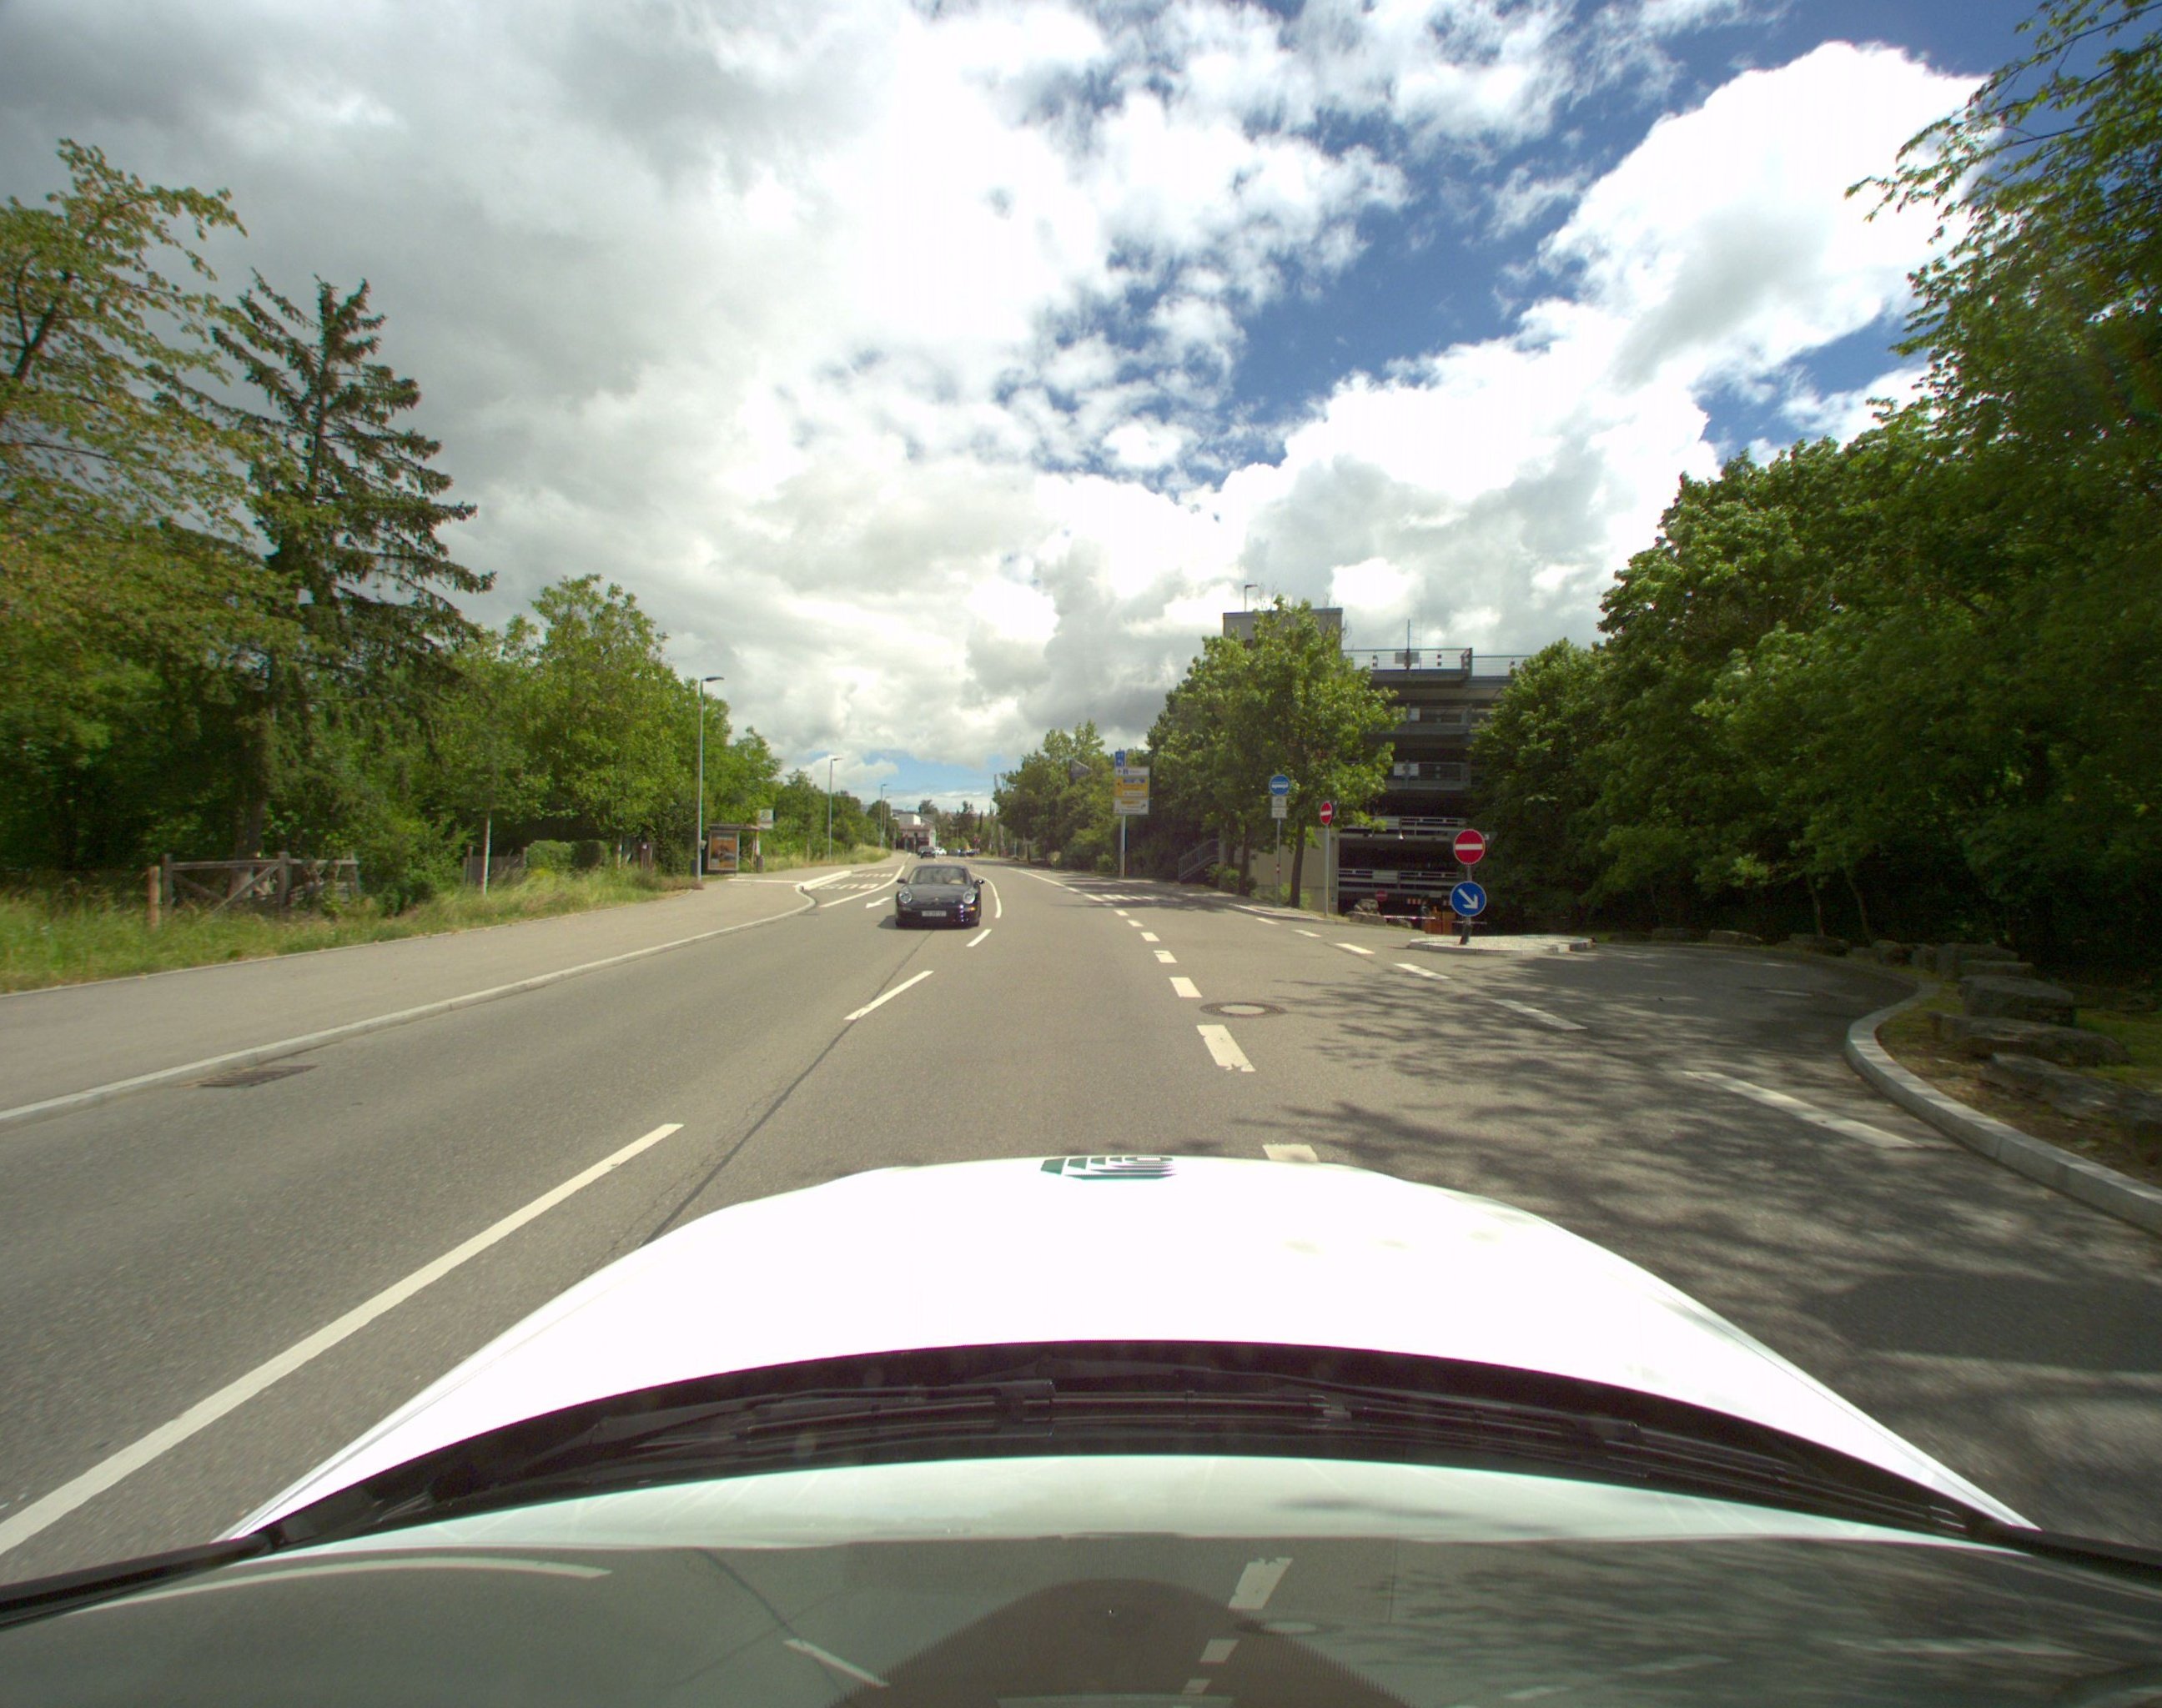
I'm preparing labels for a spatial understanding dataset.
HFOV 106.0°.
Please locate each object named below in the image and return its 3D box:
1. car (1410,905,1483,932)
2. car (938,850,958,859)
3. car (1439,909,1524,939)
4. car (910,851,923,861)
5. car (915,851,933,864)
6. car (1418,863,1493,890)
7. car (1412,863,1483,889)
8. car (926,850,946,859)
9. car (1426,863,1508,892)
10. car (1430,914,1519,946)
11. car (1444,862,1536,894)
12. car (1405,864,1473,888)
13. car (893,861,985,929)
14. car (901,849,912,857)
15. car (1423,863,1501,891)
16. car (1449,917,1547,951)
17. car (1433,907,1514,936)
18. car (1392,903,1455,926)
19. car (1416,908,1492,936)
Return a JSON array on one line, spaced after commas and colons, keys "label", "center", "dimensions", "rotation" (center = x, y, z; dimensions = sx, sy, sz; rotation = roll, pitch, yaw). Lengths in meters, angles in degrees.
[{"label": "car", "center": [24.715, 4.334, 55.263], "dimensions": [4.280, 1.489, 2.009], "rotation": [1, 0, 17]}, {"label": "car", "center": [-27.470, 0.092, 168.575], "dimensions": [3.980, 1.712, 1.891], "rotation": [0, 0, -5]}, {"label": "car", "center": [23.860, 4.170, 48.674], "dimensions": [4.280, 1.418, 2.009], "rotation": [1, 0, 17]}, {"label": "car", "center": [-25.751, 0.323, 127.325], "dimensions": [1.769, 1.442, 4.356], "rotation": [0, 0, -14]}, {"label": "car", "center": [-20.386, 0.456, 105.877], "dimensions": [1.827, 1.557, 4.602], "rotation": [0, 1, -17]}, {"label": "car", "center": [24.686, 1.478, 53.802], "dimensions": [4.280, 1.630, 2.009], "rotation": [1, 0, 17]}, {"label": "car", "center": [25.315, 1.520, 56.356], "dimensions": [4.280, 1.630, 2.009], "rotation": [1, 0, 17]}, {"label": "car", "center": [-29.354, 0.145, 164.685], "dimensions": [3.986, 1.904, 1.994], "rotation": [0, 0, -10]}, {"label": "car", "center": [23.520, 1.415, 49.791], "dimensions": [4.280, 1.630, 2.009], "rotation": [1, 0, 17]}, {"label": "car", "center": [22.053, 4.231, 45.822], "dimensions": [4.280, 1.418, 2.009], "rotation": [1, 0, 17]}, {"label": "car", "center": [22.587, 1.306, 45.179], "dimensions": [4.280, 1.630, 2.009], "rotation": [1, 0, 17]}, {"label": "car", "center": [25.666, 1.558, 58.545], "dimensions": [4.280, 1.630, 2.009], "rotation": [1, 0, 17]}, {"label": "car", "center": [-3.020, 0.821, 17.976], "dimensions": [1.732, 1.301, 3.995], "rotation": [0, 0, -6]}, {"label": "car", "center": [-31.377, -0.219, 146.504], "dimensions": [1.769, 1.442, 3.880], "rotation": [0, 0, -15]}, {"label": "car", "center": [24.149, 1.447, 51.771], "dimensions": [4.280, 1.630, 2.009], "rotation": [1, 0, 17]}, {"label": "car", "center": [21.854, 4.160, 42.850], "dimensions": [4.280, 1.418, 2.009], "rotation": [1, 0, 17]}, {"label": "car", "center": [24.344, 4.172, 50.705], "dimensions": [4.280, 1.489, 2.009], "rotation": [1, 0, 17]}, {"label": "car", "center": [26.245, 4.636, 62.565], "dimensions": [4.280, 1.489, 2.009], "rotation": [1, 0, 17]}, {"label": "car", "center": [24.272, 4.391, 53.091], "dimensions": [4.280, 1.489, 2.009], "rotation": [1, 0, 17]}]
